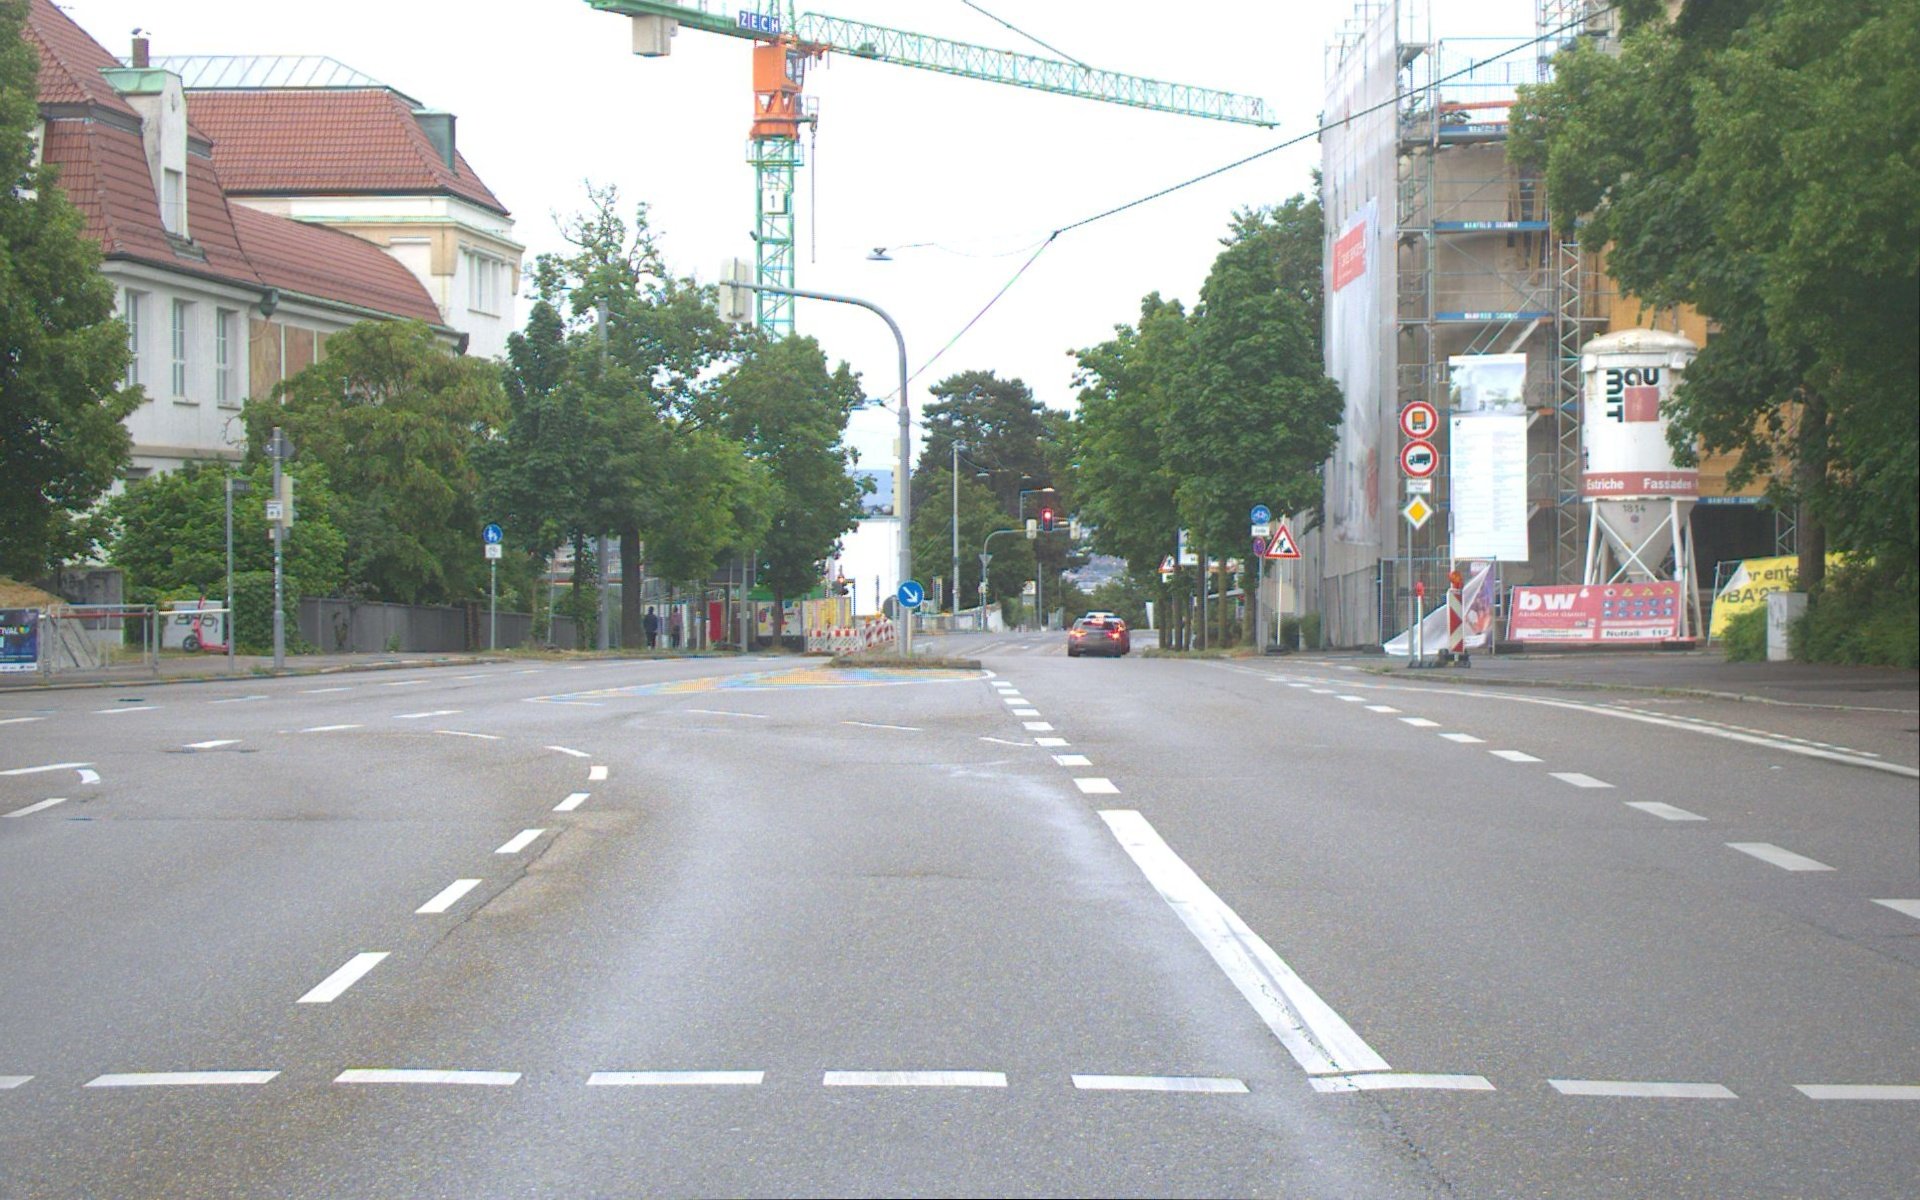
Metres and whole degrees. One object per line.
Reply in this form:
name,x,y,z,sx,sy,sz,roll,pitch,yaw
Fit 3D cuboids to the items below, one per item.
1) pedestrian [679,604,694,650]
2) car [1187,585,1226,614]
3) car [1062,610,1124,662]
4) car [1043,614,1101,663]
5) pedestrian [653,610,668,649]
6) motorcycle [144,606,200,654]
pedestrian,-9.674,0.956,121.673,0.493,1.640,0.534,1,0,-6
car,15.740,-0.045,219.322,1.994,1.744,3.998,-1,1,11
car,4.822,1.290,125.095,1.993,1.744,4.000,-1,1,-1
car,4.244,1.441,130.838,1.993,1.744,4.000,-1,1,-1
pedestrian,-10.552,1.040,121.289,0.474,1.391,0.411,-1,1,-1
motorcycle,-14.792,0.556,64.512,0.849,0.874,0.877,1,0,-1
